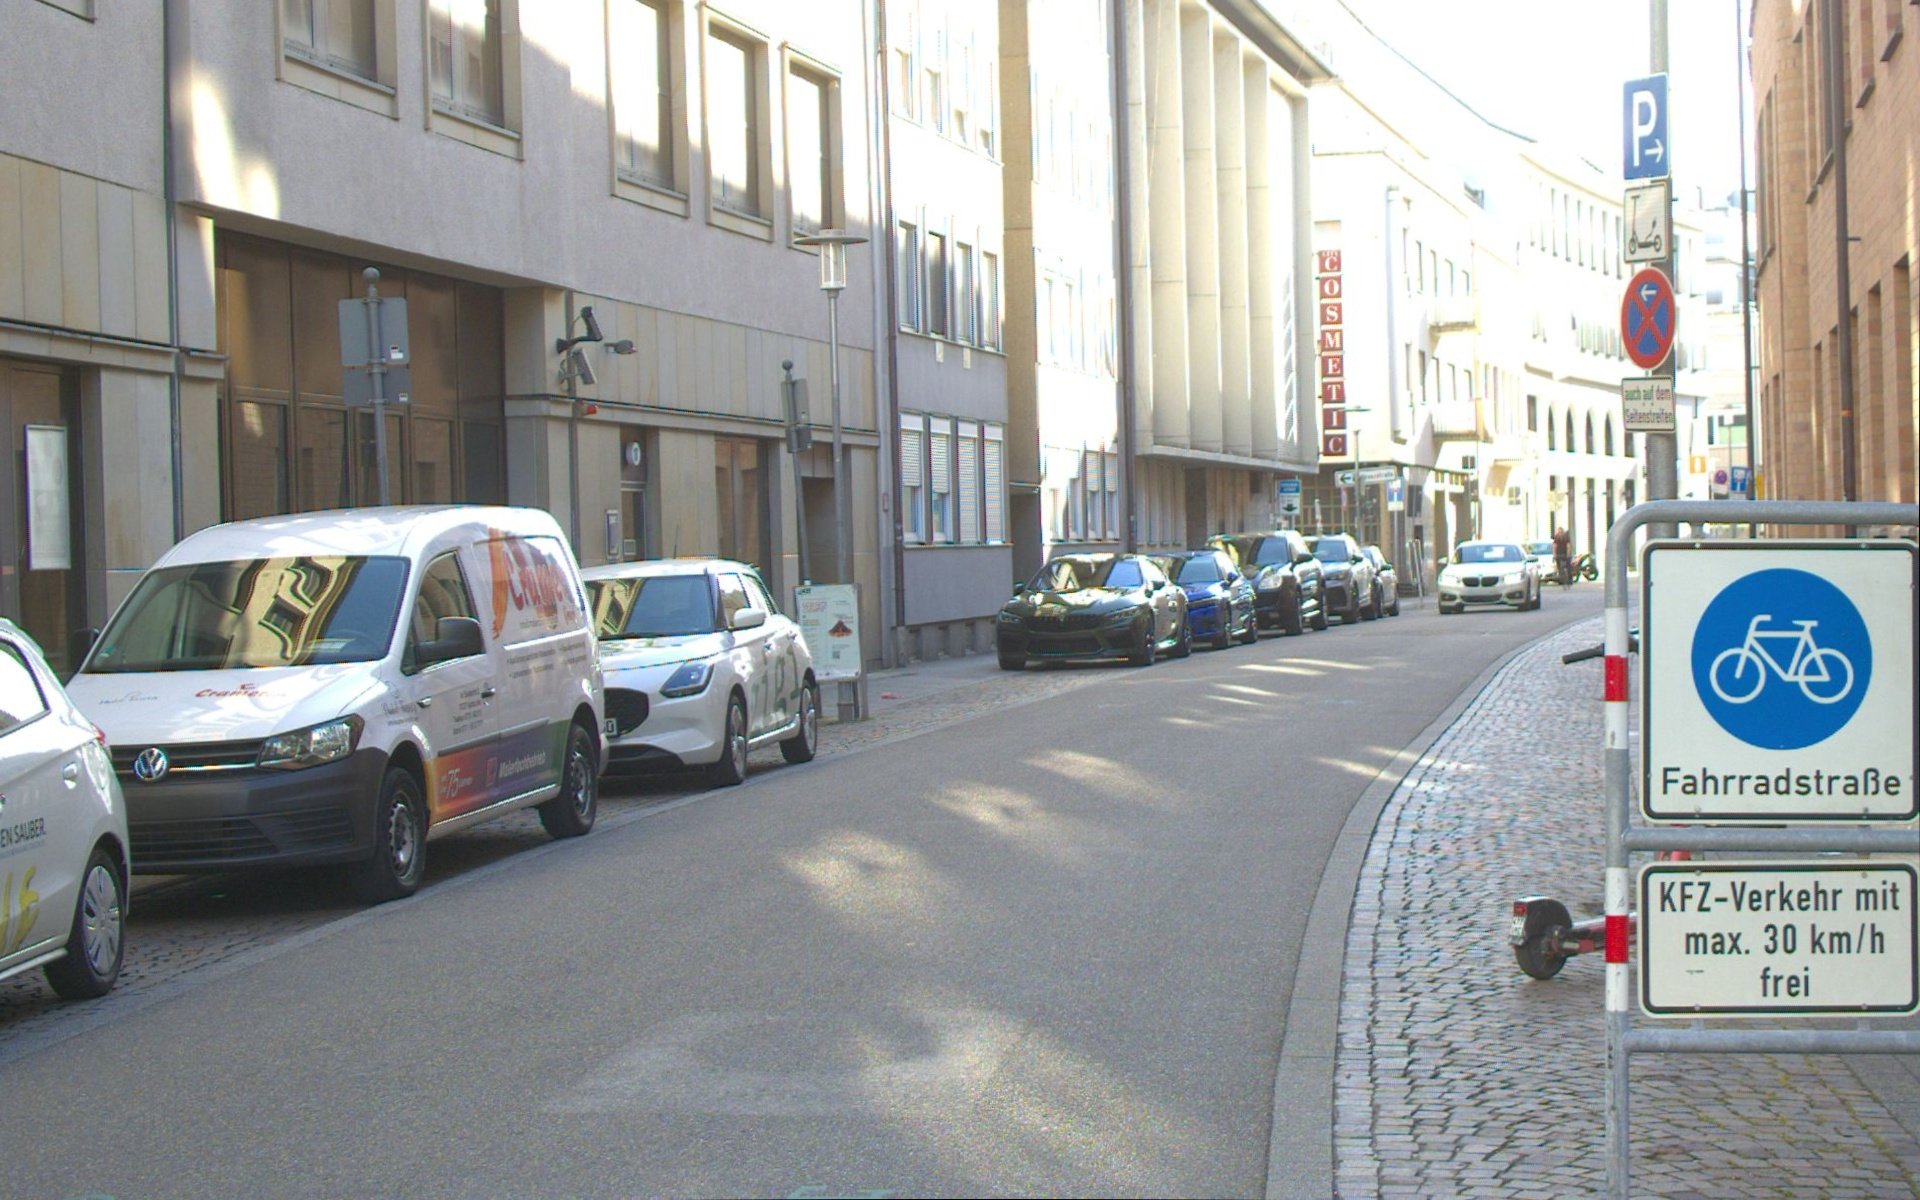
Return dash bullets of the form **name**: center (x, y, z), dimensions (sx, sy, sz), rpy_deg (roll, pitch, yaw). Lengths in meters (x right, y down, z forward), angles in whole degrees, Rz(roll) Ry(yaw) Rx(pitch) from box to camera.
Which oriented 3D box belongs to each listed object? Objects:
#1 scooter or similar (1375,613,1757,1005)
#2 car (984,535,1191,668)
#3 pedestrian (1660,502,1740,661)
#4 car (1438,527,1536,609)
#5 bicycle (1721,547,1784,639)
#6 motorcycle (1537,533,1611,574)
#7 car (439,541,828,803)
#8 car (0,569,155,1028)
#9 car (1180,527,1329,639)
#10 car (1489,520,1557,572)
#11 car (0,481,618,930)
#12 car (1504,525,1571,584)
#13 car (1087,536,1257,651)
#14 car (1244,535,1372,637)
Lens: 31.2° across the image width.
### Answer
- **scooter or similar**: center (2.114, 0.685, 11.897), dimensions (1.415, 1.231, 0.538), rpy_deg (-2, 2, -42)
- **car**: center (1.689, -0.018, 43.717), dimensions (1.891, 1.525, 4.727), rpy_deg (-2, 1, 11)
- **pedestrian**: center (8.239, -0.209, 38.293), dimensions (0.760, 1.710, 0.821), rpy_deg (-3, 1, 11)
- **car**: center (10.410, -0.657, 67.744), dimensions (1.715, 1.512, 4.158), rpy_deg (-2, 1, 11)
- **bicycle**: center (10.138, -0.103, 44.025), dimensions (0.550, 1.099, 1.981), rpy_deg (-4, 1, 9)
- **motorcycle**: center (21.079, -1.590, 118.066), dimensions (2.392, 1.312, 0.861), rpy_deg (-2, 1, 15)
- **car**: center (-2.109, 0.421, 23.252), dimensions (1.670, 1.517, 3.774), rpy_deg (-3, 1, 9)
- **car**: center (-4.051, 0.704, 11.139), dimensions (1.737, 1.487, 3.799), rpy_deg (-3, 1, 3)
- **car**: center (4.802, -0.311, 55.577), dimensions (1.891, 1.670, 4.552), rpy_deg (-2, 1, 11)
- **car**: center (17.541, -1.696, 107.019), dimensions (1.738, 1.600, 3.530), rpy_deg (0, 1, 15)
- **car**: center (-3.252, 0.412, 17.016), dimensions (1.900, 1.851, 4.732), rpy_deg (-3, 1, 9)
- **car**: center (15.643, -1.242, 93.020), dimensions (1.640, 1.512, 4.158), rpy_deg (-2, 1, 11)
- **car**: center (3.121, -0.121, 49.854), dimensions (1.891, 1.525, 4.338), rpy_deg (-2, 1, 11)
- **car**: center (6.415, -0.292, 63.020), dimensions (1.891, 1.736, 4.389), rpy_deg (-2, 1, 11)
